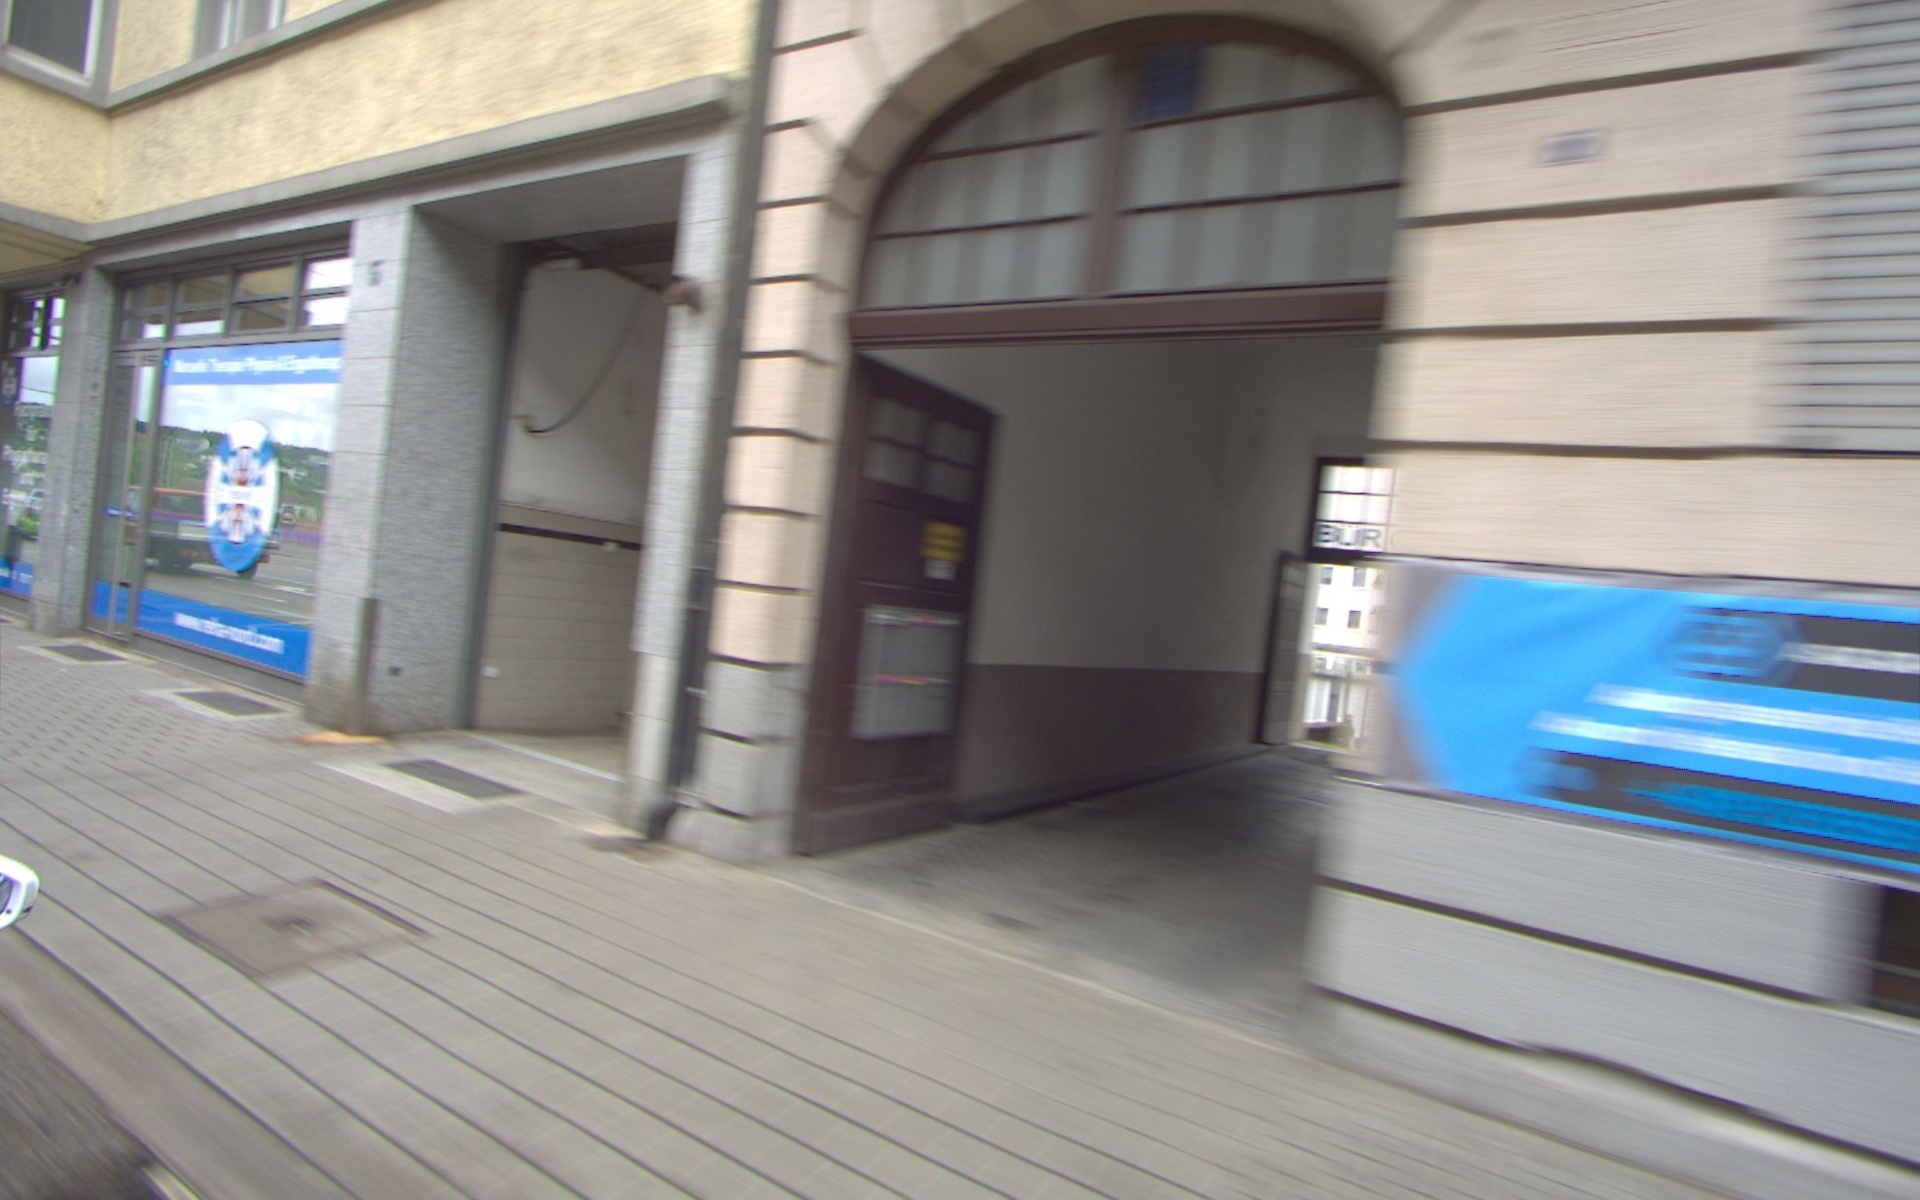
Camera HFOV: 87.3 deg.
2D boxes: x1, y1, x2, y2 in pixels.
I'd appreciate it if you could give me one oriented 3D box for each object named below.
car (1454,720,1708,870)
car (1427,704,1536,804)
[{"bbox_3d":[12.204,3.745,20.008,3.934,2.039,1.995,6,0,32],"label":"car"},{"bbox_3d":[13.587,3.885,26.104,1.968,2.039,3.990,6,0,33],"label":"car"}]
